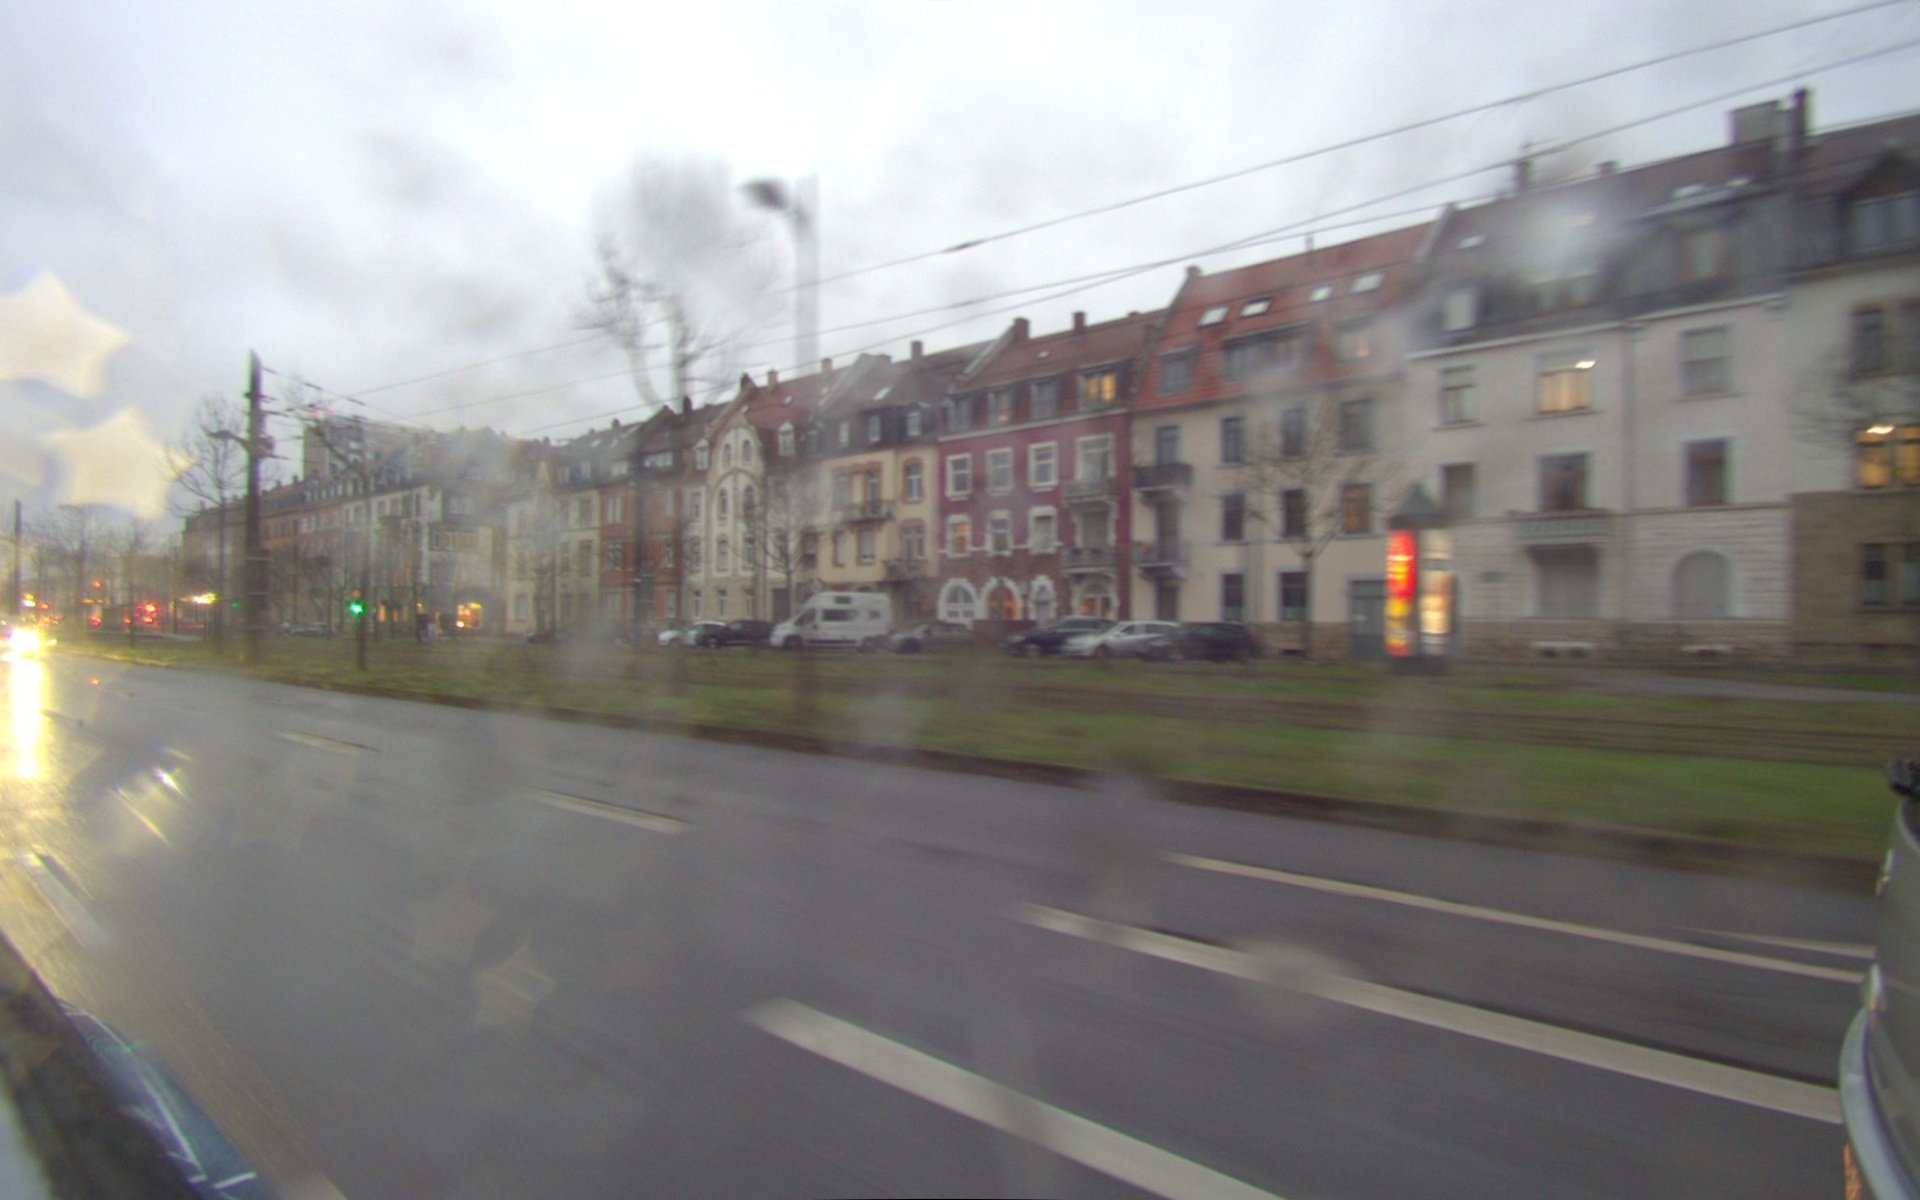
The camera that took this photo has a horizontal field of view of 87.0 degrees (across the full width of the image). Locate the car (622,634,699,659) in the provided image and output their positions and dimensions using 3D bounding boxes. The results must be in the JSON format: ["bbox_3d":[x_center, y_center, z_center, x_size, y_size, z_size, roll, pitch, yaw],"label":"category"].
[{"bbox_3d":[-16.248,2.514,55.097,3.933,1.342,2.005,1,-2,-13],"label":"car"}]

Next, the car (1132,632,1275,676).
[{"bbox_3d":[7.694,1.691,32.166,3.934,1.342,2.004,1,-2,-11],"label":"car"}]

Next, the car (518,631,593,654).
[{"bbox_3d":[-24.361,2.535,61.079,3.933,1.342,2.005,1,-2,-13],"label":"car"}]

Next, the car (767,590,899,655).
[{"bbox_3d":[-5.704,1.049,45.612,5.775,2.819,2.003,1,-2,-7],"label":"car"}]

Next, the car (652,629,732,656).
[{"bbox_3d":[-13.890,2.221,52.670,3.933,1.342,2.005,1,-2,-14],"label":"car"}]

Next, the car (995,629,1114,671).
[{"bbox_3d":[3.472,1.851,37.396,3.933,1.497,2.005,1,-2,-14],"label":"car"}]

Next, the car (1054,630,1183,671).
[{"bbox_3d":[5.426,1.723,34.928,3.934,1.342,2.004,1,-2,-11],"label":"car"}]

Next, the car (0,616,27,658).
[{"bbox_3d":[-36.071,1.373,37.530,4.052,1.508,1.790,-1,-1,42],"label":"car"}]

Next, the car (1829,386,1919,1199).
[{"bbox_3d":[3.163,0.536,0.535,4.051,1.612,1.790,-1,-1,41],"label":"car"}]

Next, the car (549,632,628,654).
[{"bbox_3d":[-21.100,2.436,57.690,3.935,1.178,2.004,1,-2,-10],"label":"car"}]

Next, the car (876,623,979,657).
[{"bbox_3d":[-1.368,1.643,41.742,3.934,1.342,2.004,1,-2,-11],"label":"car"}]
